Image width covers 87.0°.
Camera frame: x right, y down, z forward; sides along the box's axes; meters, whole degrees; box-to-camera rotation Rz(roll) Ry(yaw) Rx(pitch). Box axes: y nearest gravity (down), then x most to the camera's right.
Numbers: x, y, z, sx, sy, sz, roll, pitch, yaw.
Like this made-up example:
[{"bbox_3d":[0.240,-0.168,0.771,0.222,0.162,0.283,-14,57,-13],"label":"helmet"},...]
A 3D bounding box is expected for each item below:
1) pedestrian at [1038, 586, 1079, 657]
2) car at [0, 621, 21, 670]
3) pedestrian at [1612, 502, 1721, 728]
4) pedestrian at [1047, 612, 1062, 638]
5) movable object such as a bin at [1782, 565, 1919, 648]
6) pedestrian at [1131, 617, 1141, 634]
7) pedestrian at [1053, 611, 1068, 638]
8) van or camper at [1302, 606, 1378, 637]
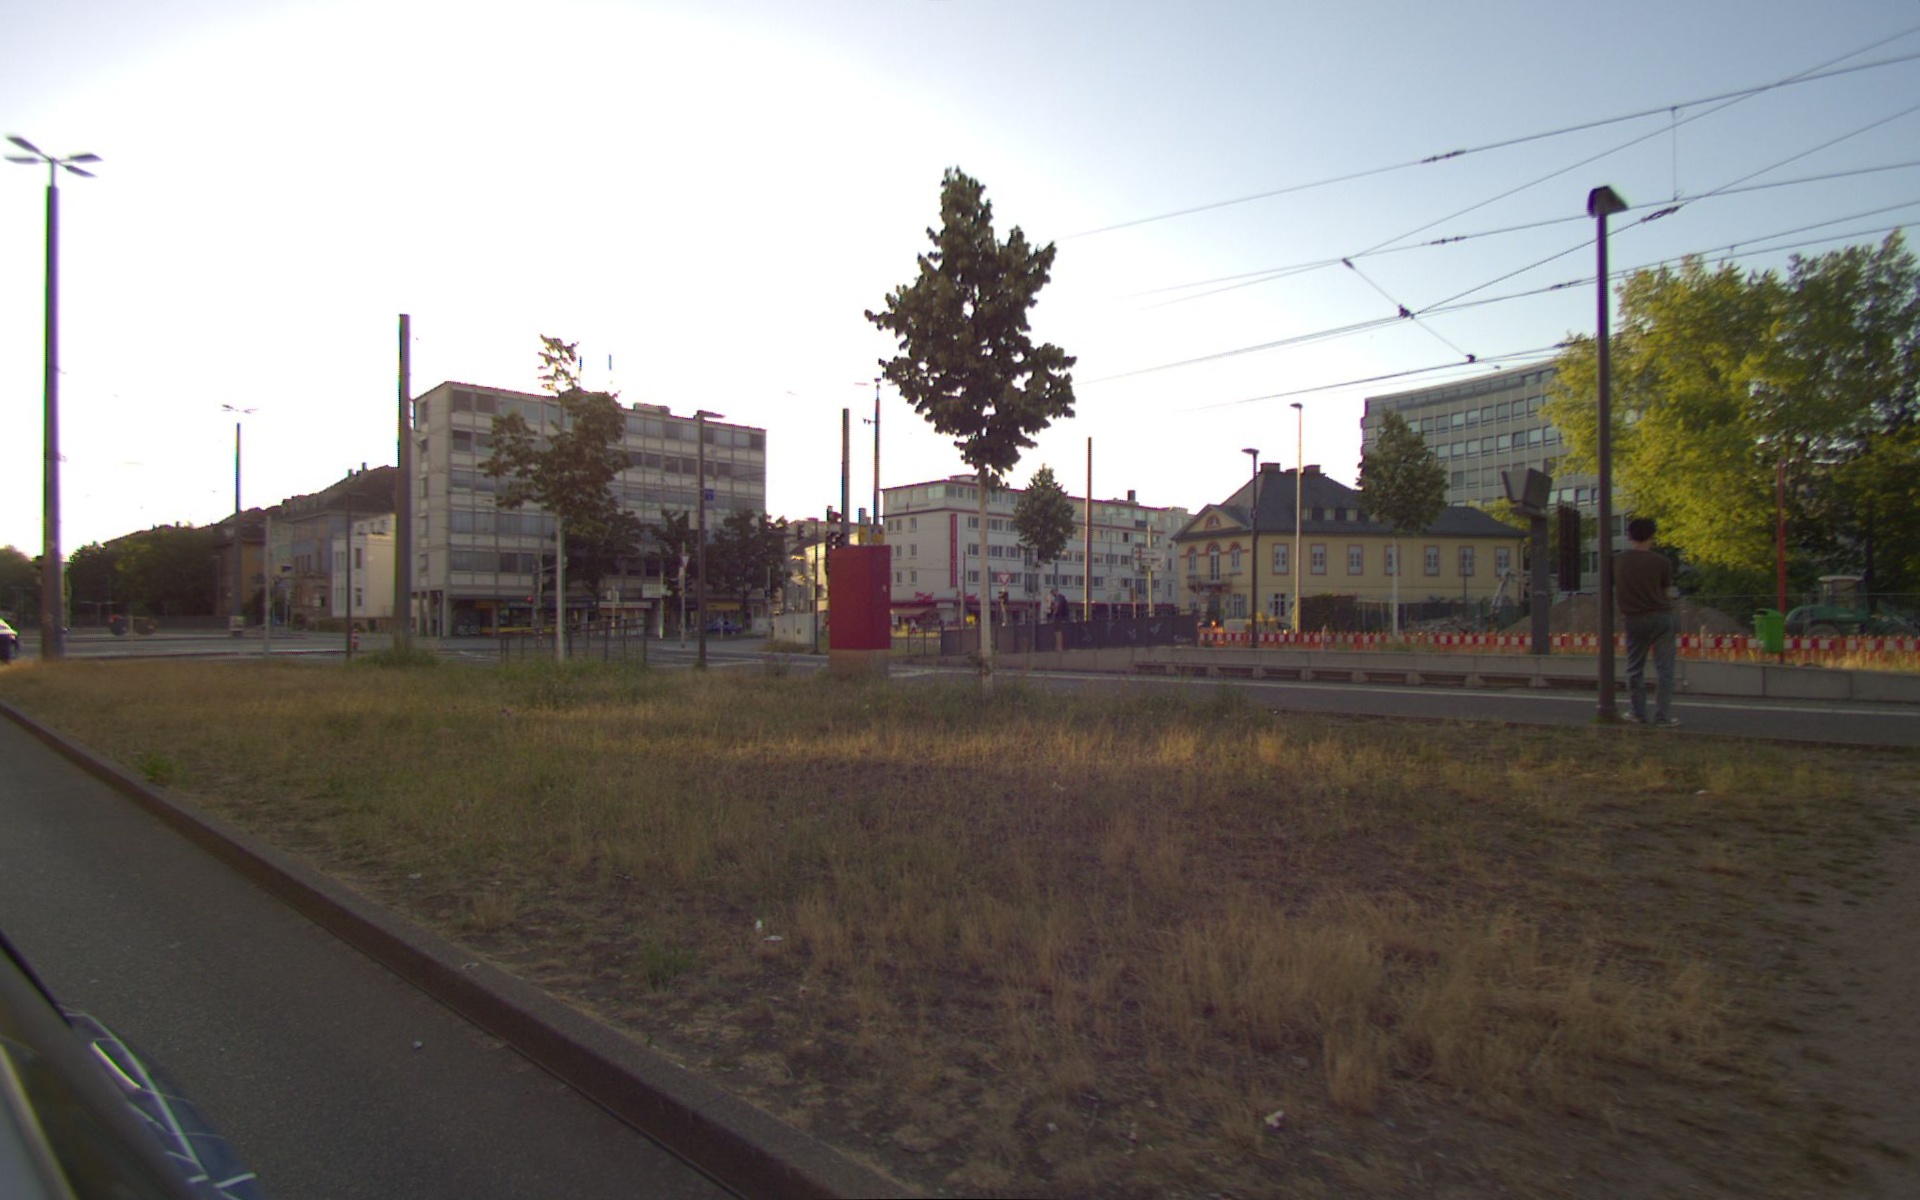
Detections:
[{"bbox_3d":[2.582,0.553,26.517,0.817,1.812,0.686,-1,-1,44],"label":"pedestrian"},{"bbox_3d":[-28.246,1.295,28.047,1.820,1.418,4.238,0,-2,-21],"label":"car"},{"bbox_3d":[5.888,0.125,8.438,0.465,1.800,0.627,1,-1,-41],"label":"pedestrian"},{"bbox_3d":[5.616,1.486,59.991,0.645,1.521,0.591,3,-3,-44],"label":"pedestrian"},{"bbox_3d":[31.356,0.235,35.119,1.967,2.727,4.010,0,-1,-35],"label":"movable object such as a bin"},{"bbox_3d":[15.650,2.255,89.919,0.645,1.521,0.591,3,-3,-42],"label":"pedestrian"},{"bbox_3d":[5.875,1.429,59.356,0.645,1.521,0.591,1,-2,-44],"label":"pedestrian"},{"bbox_3d":[29.156,1.682,77.623,5.037,2.319,2.003,0,-2,-6],"label":"van or camper"}]
